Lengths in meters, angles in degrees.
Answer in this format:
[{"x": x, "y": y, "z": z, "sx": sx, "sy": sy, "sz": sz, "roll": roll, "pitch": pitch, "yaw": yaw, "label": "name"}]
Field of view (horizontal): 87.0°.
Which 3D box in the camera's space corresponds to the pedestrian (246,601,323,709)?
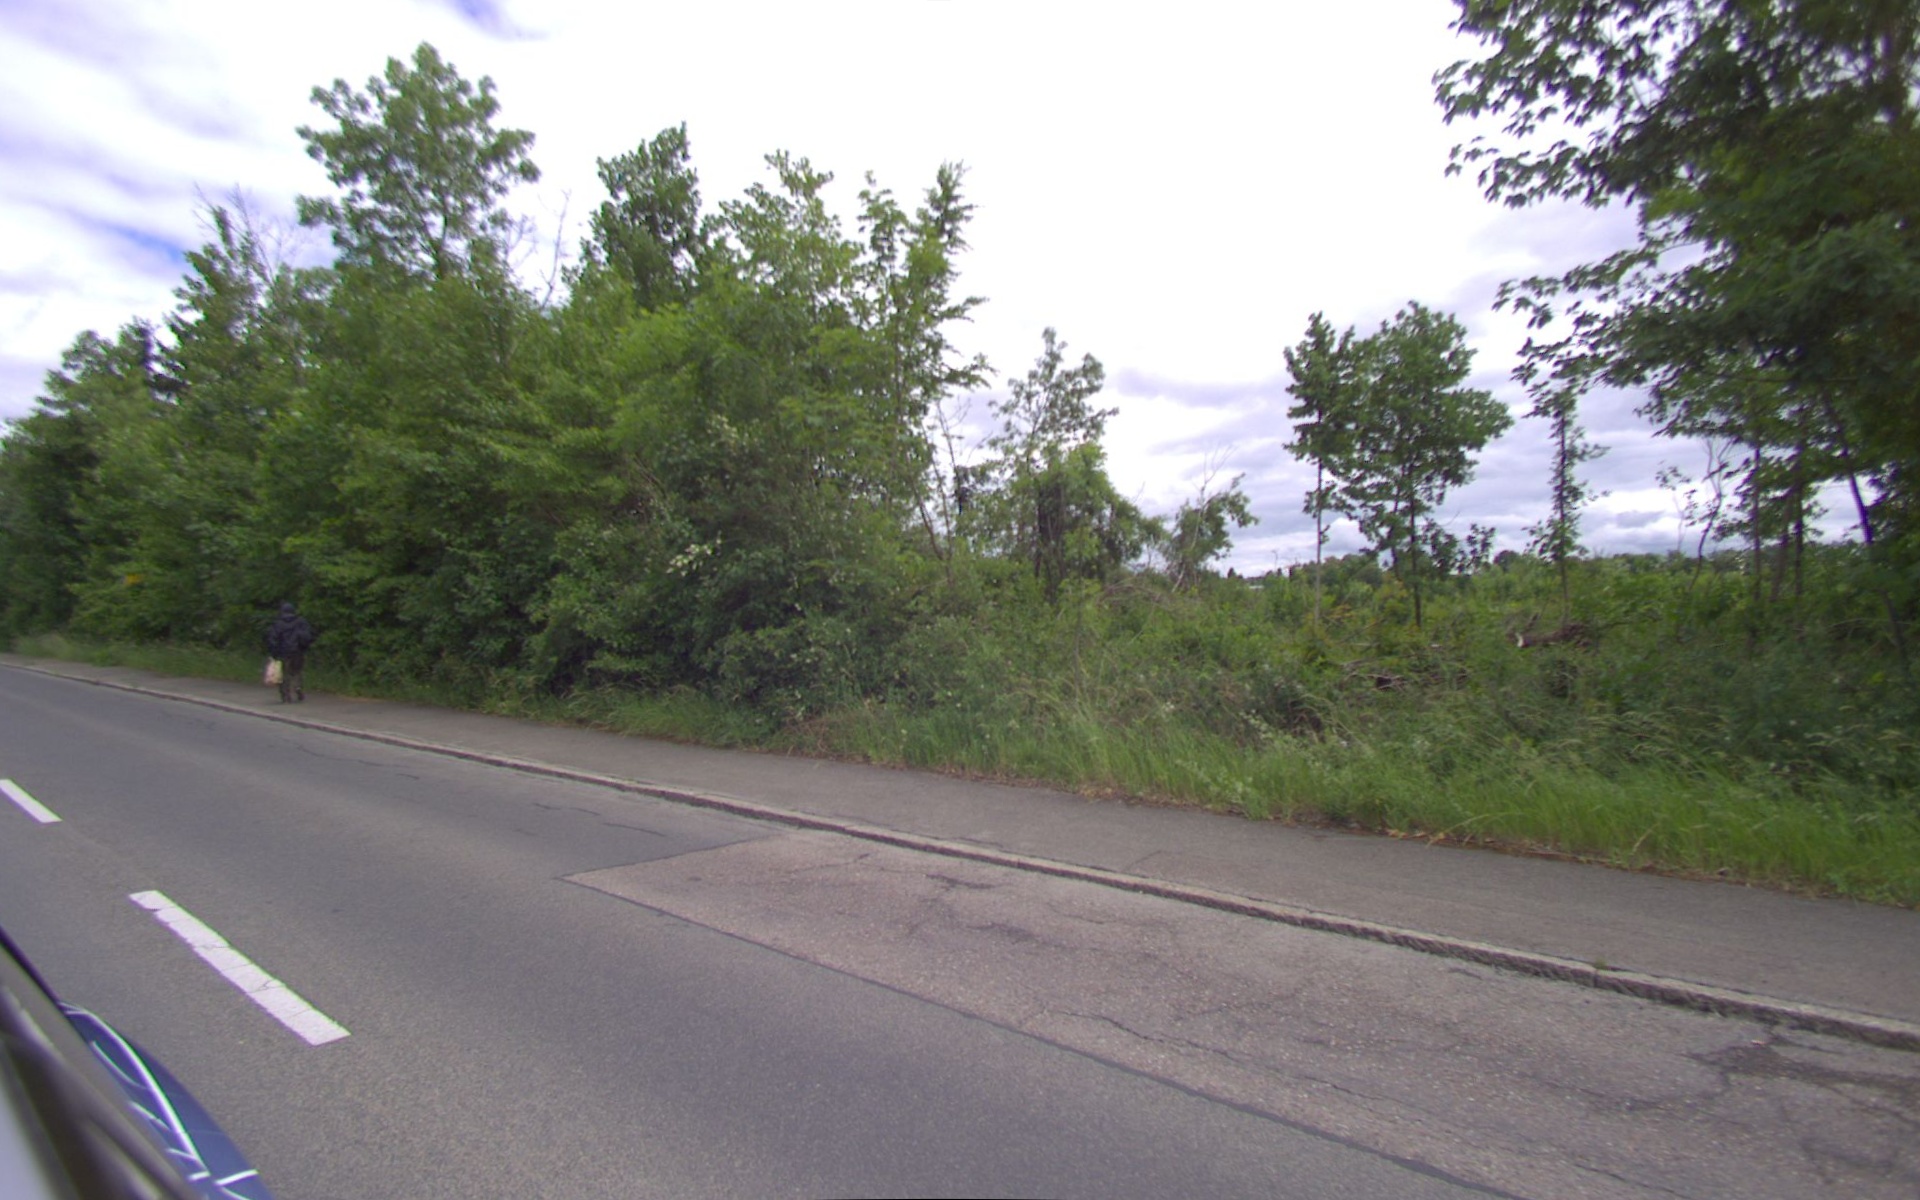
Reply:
[{"x": -11.627, "y": 0.937, "z": 17.431, "sx": 0.788, "sy": 1.783, "sz": 0.860, "roll": -2, "pitch": -3, "yaw": 36, "label": "pedestrian"}]
